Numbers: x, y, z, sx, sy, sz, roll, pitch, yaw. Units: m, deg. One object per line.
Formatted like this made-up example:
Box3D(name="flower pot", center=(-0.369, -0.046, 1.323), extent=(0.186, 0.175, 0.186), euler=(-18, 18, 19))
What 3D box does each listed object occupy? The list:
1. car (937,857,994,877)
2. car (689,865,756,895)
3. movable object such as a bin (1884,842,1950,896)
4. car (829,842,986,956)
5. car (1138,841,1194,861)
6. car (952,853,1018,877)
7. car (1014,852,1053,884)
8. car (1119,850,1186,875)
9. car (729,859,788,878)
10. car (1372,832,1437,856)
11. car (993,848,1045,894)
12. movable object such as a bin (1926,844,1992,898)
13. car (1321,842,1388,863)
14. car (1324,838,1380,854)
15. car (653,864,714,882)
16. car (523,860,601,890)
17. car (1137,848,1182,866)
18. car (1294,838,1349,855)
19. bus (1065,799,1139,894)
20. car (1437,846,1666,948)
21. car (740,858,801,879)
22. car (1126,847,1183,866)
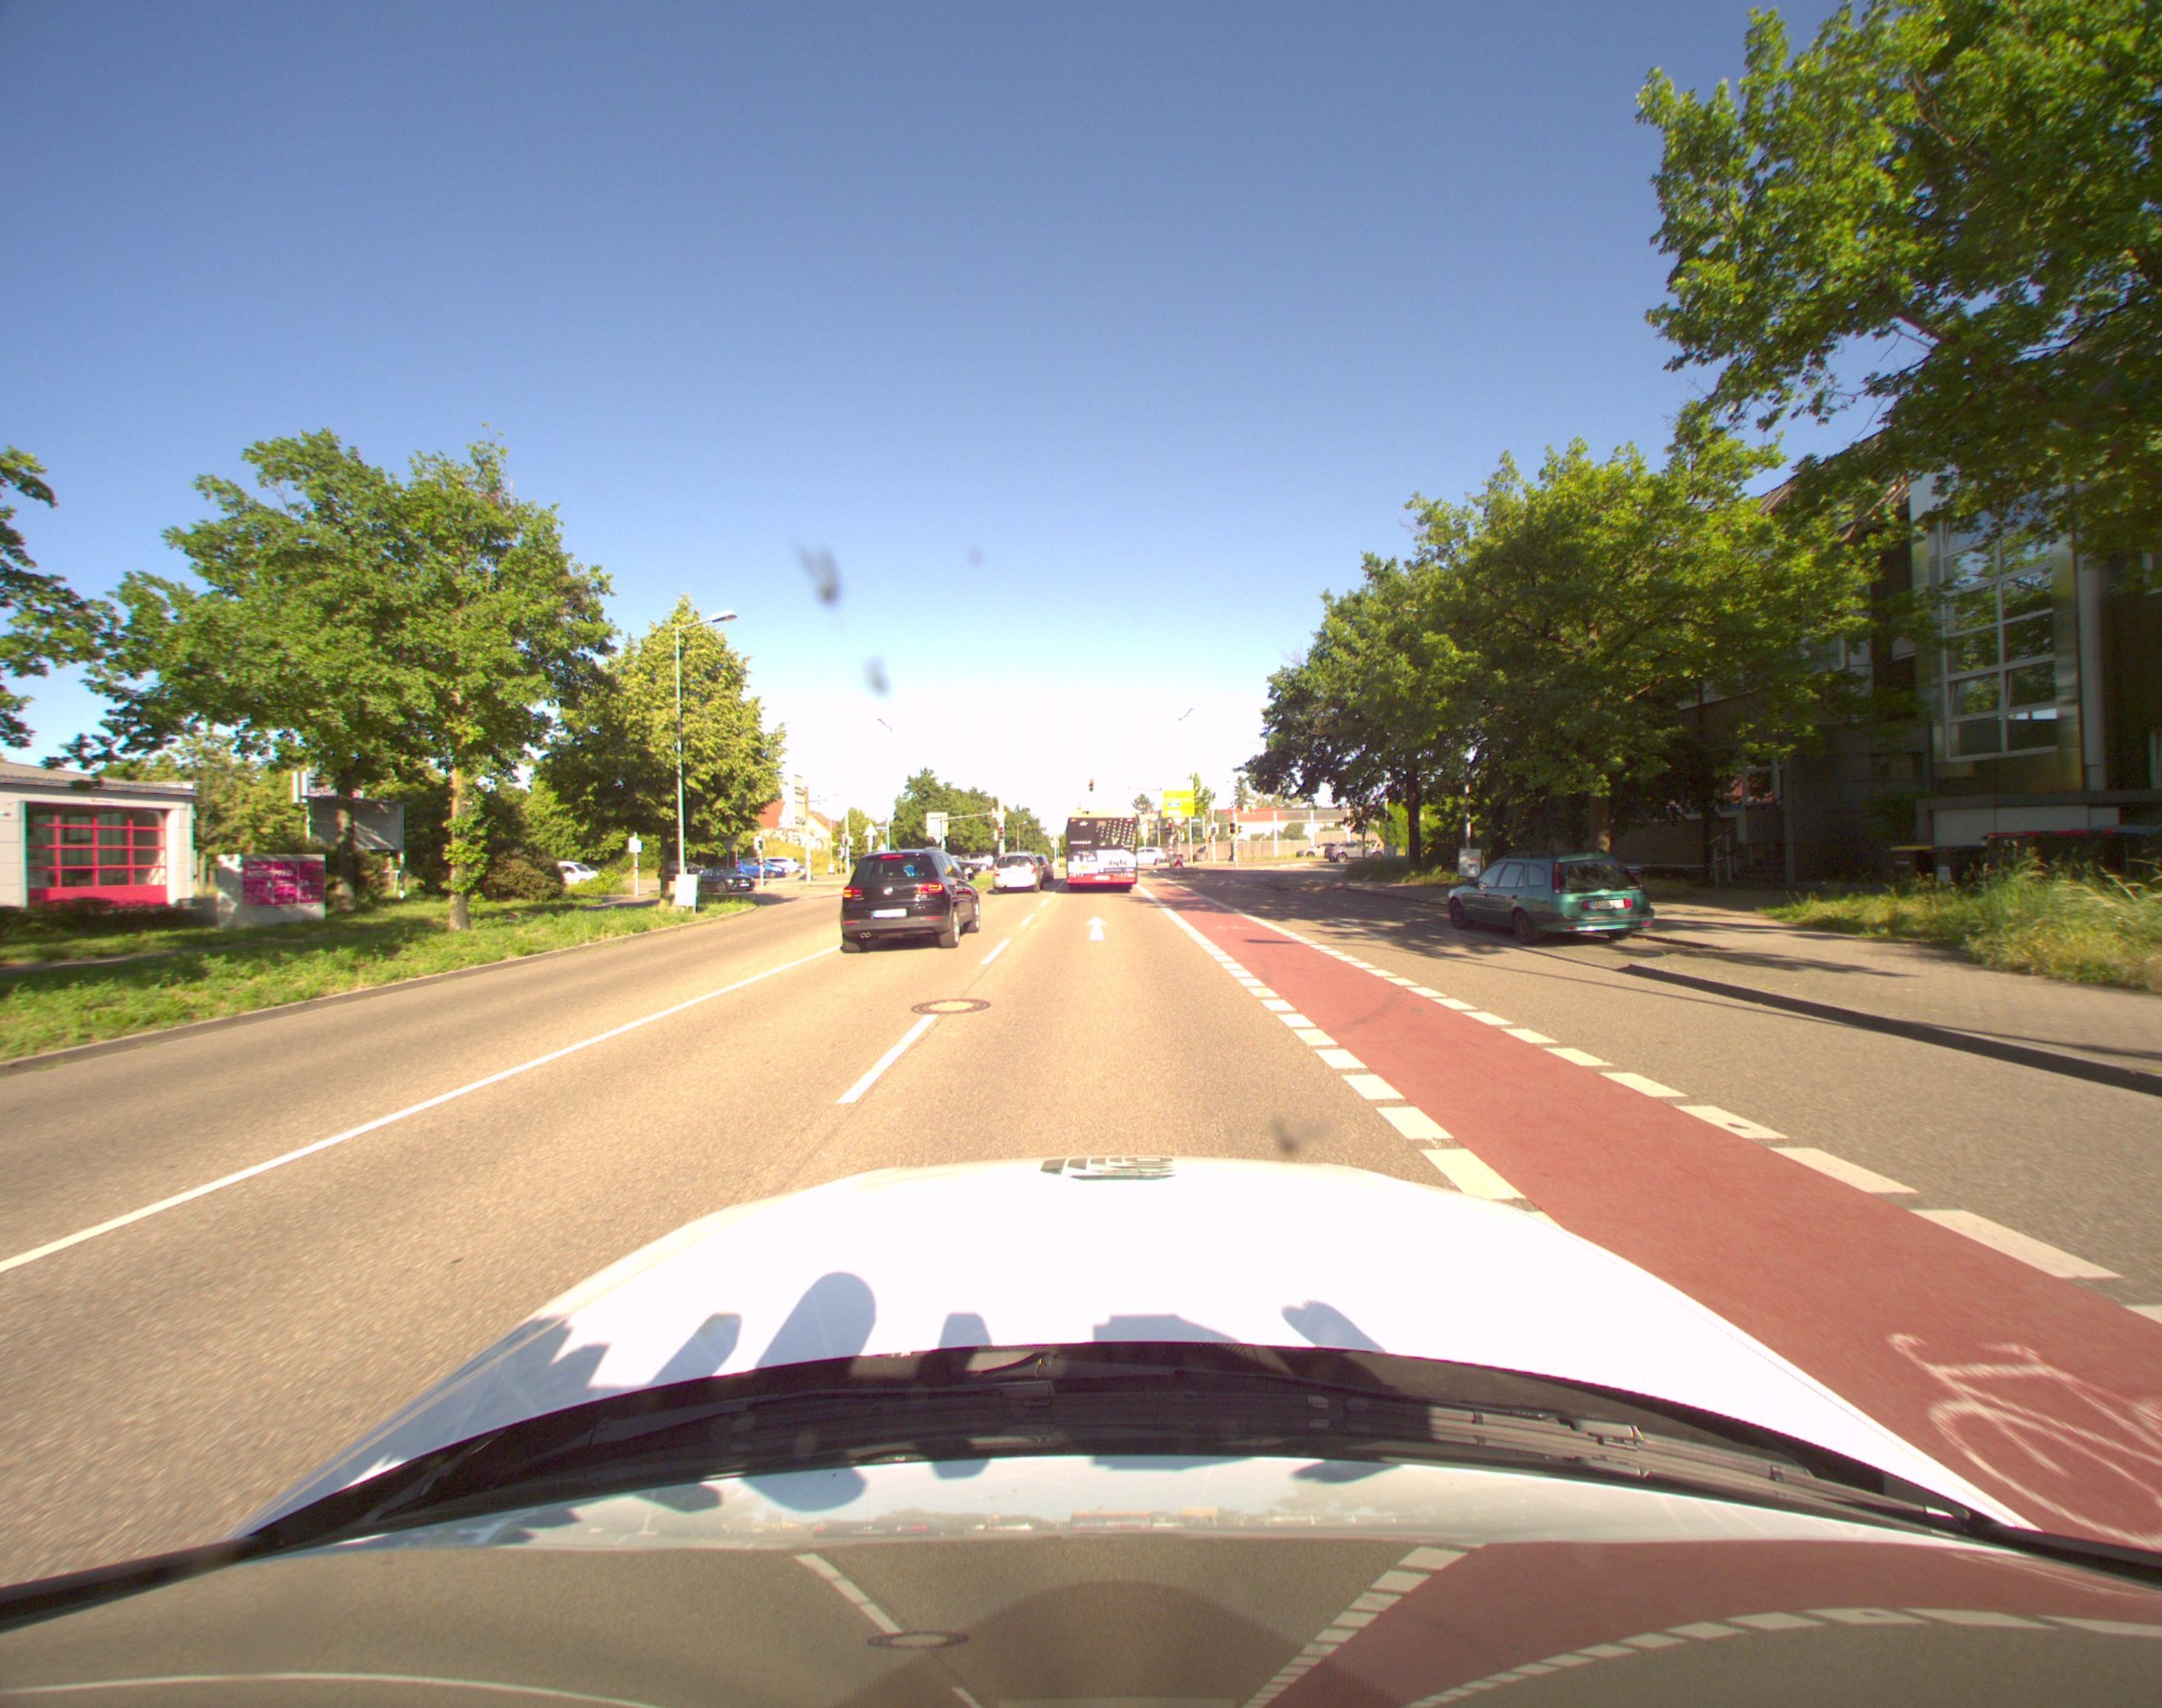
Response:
Box3D(name="car", center=(-9.770, 1.060, 69.175), extent=(4.694, 1.540, 1.997), euler=(-1, 0, -5))
Box3D(name="car", center=(-19.842, 1.475, 44.953), extent=(2.011, 1.403, 4.532), euler=(-5, 1, -42))
Box3D(name="movable object such as a bin", center=(16.593, 0.293, 16.175), extent=(0.709, 1.032, 0.581), euler=(-1, 0, 1))
Box3D(name="car", center=(-2.911, 0.719, 14.571), extent=(1.814, 1.673, 4.003), euler=(-3, -1, 1))
Box3D(name="car", center=(6.646, -0.229, 64.083), extent=(4.212, 1.562, 1.761), euler=(0, -1, -4))
Box3D(name="car", center=(-6.636, 0.758, 56.601), extent=(4.453, 1.441, 1.680), euler=(-2, 0, -4))
Box3D(name="car", center=(-2.362, 0.683, 41.017), extent=(1.582, 1.485, 3.684), euler=(-2, -1, 2))
Box3D(name="car", center=(3.941, 0.472, 44.679), extent=(3.500, 1.302, 1.579), euler=(-1, 0, 10))
Box3D(name="car", center=(-24.465, 1.065, 61.841), extent=(3.843, 1.385, 1.678), euler=(0, -1, -7))
Box3D(name="car", center=(18.261, -0.572, 45.947), extent=(3.412, 1.296, 1.449), euler=(0, -1, -24))
Box3D(name="car", center=(-2.404, 0.629, 32.636), extent=(1.748, 1.620, 4.033), euler=(-1, 1, 0))
Box3D(name="movable object such as a bin", center=(16.647, 0.319, 15.454), extent=(0.626, 1.007, 0.576), euler=(0, -1, 1))
Box3D(name="car", center=(19.800, -0.122, 59.053), extent=(4.212, 1.480, 1.761), euler=(0, -1, -4))
Box3D(name="car", center=(22.833, -0.678, 68.689), extent=(4.149, 1.302, 1.573), euler=(0, -1, -2))
Box3D(name="car", center=(-29.815, 1.402, 61.179), extent=(3.843, 1.313, 1.504), euler=(0, -1, -7))
Box3D(name="car", center=(-34.358, 1.386, 53.986), extent=(4.109, 1.801, 1.454), euler=(-2, -1, -8))
Box3D(name="car", center=(7.420, 0.266, 77.151), extent=(3.980, 1.612, 1.693), euler=(-1, 0, -5))
Box3D(name="car", center=(21.223, -0.638, 71.890), extent=(4.402, 1.459, 1.573), euler=(0, -1, -2))
Box3D(name="bus", center=(0.913, -0.276, 34.814), extent=(2.587, 3.334, 11.987), euler=(0, 0, 1))
Box3D(name="car", center=(7.796, 0.639, 14.001), extent=(1.586, 1.428, 4.206), euler=(-3, 0, 2))
Box3D(name="car", center=(-25.580, 1.221, 67.276), extent=(4.373, 1.683, 1.710), euler=(0, -1, -3))
Box3D(name="car", center=(6.354, 0.230, 70.712), extent=(4.691, 1.540, 1.998), euler=(-1, 0, -3))
